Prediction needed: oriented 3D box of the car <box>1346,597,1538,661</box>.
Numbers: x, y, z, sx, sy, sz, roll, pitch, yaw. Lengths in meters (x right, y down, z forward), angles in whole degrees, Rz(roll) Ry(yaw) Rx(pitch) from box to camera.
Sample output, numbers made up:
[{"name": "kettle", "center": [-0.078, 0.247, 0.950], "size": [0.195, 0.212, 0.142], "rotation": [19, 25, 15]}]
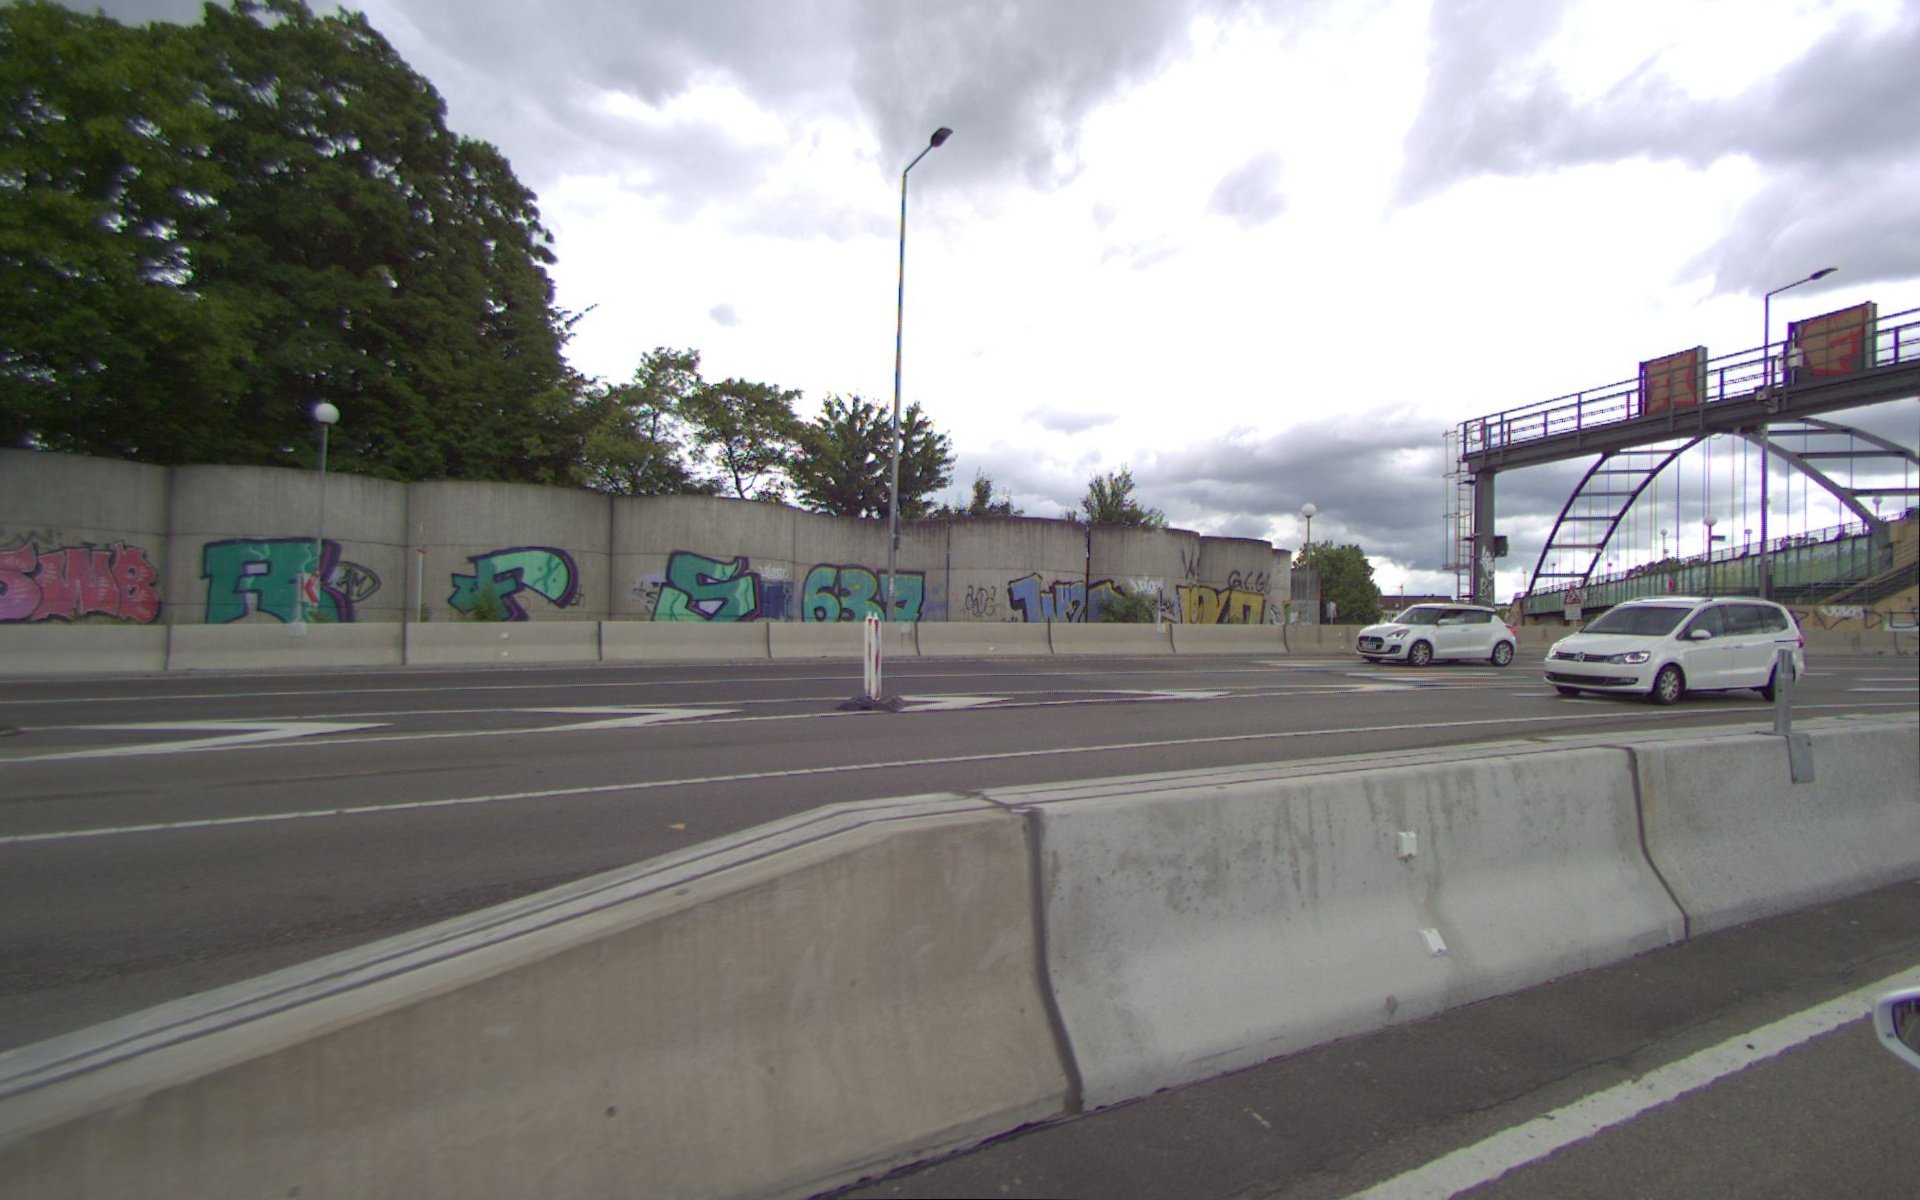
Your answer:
[{"name": "car", "center": [11.714, 0.709, 24.469], "size": [4.077, 1.453, 1.760], "rotation": [1, -1, -16]}]

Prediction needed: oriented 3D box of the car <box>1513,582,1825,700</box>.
[{"name": "car", "center": [12.075, 0.683, 17.073], "size": [5.201, 1.773, 1.945], "rotation": [2, -1, -24]}]
